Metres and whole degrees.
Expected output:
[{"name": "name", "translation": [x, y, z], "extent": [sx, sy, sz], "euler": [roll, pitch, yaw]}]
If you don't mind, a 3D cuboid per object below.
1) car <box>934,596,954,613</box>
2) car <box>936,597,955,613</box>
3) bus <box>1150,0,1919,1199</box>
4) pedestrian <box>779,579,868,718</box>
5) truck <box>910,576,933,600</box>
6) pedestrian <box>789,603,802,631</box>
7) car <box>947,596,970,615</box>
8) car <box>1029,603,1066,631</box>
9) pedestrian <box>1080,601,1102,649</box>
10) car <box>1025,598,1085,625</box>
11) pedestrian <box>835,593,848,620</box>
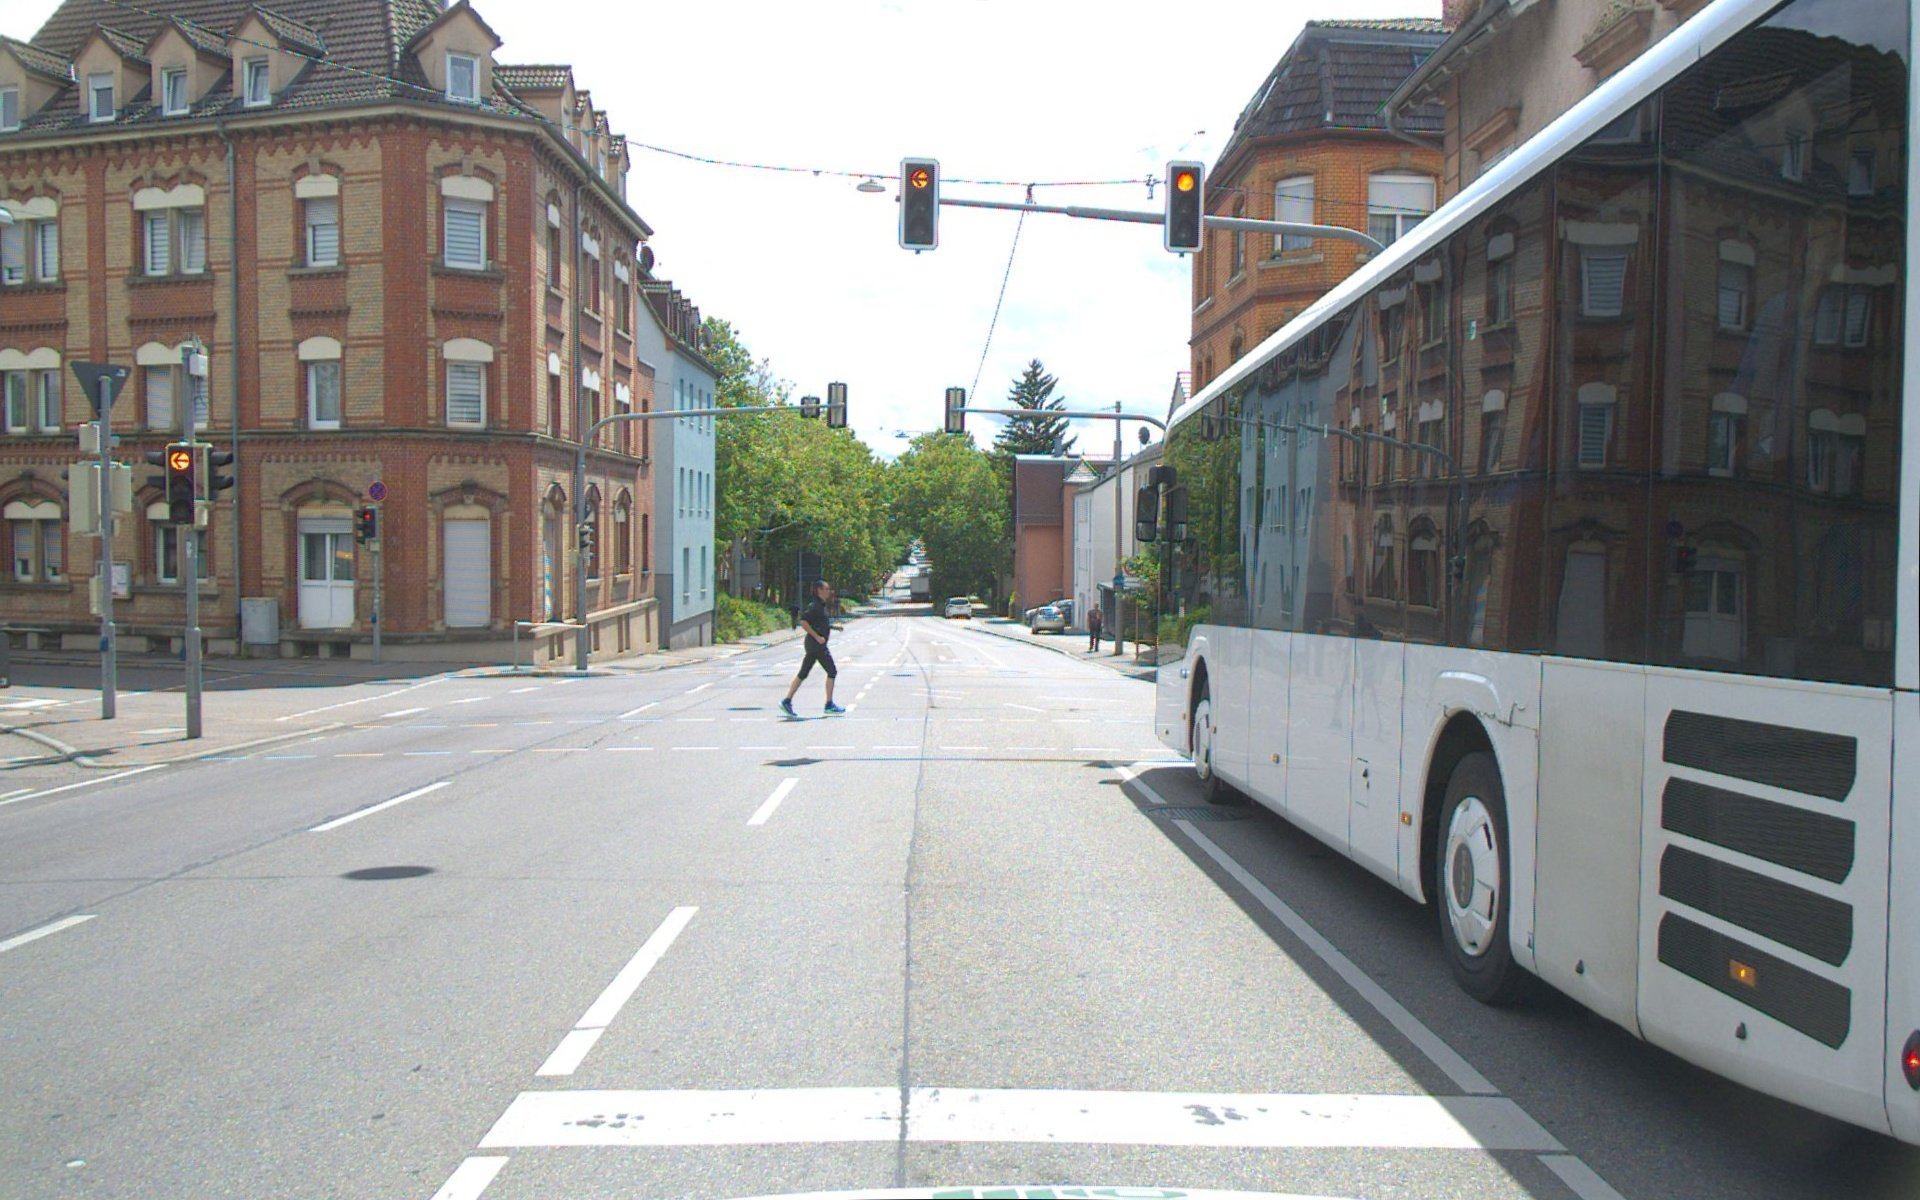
[{"name": "car", "translation": [-1.405, 0.387, 145.785], "extent": [1.757, 1.434, 4.418], "euler": [1, 0, 0]}, {"name": "car", "translation": [-1.335, 0.496, 153.891], "extent": [1.757, 1.434, 4.418], "euler": [1, 0, 0]}, {"name": "bus", "translation": [3.180, -0.114, 9.335], "extent": [2.618, 3.211, 12.459], "euler": [0, 0, -1]}, {"name": "pedestrian", "translation": [-1.775, 0.616, 21.492], "extent": [1.118, 1.765, 0.758], "euler": [0, 0, -5]}, {"name": "truck", "translation": [-5.294, -1.656, 224.832], "extent": [2.868, 3.135, 7.881], "euler": [-1, 0, -3]}, {"name": "pedestrian", "translation": [-9.456, 0.962, 94.892], "extent": [0.714, 1.592, 0.560], "euler": [0, 0, -2]}, {"name": "car", "translation": [-0.137, 0.442, 129.370], "extent": [1.758, 1.434, 3.999], "euler": [1, 0, -1]}, {"name": "car", "translation": [4.914, 0.937, 93.118], "extent": [1.758, 1.434, 3.999], "euler": [-1, 1, -2]}, {"name": "pedestrian", "translation": [4.836, 0.922, 61.080], "extent": [0.723, 1.781, 0.619], "euler": [-1, 0, -1]}, {"name": "car", "translation": [6.488, 0.767, 113.244], "extent": [3.909, 1.788, 1.998], "euler": [-1, 0, -6]}, {"name": "pedestrian", "translation": [-9.075, 0.516, 126.621], "extent": [0.974, 2.049, 1.188], "euler": [0, 0, -1]}]
